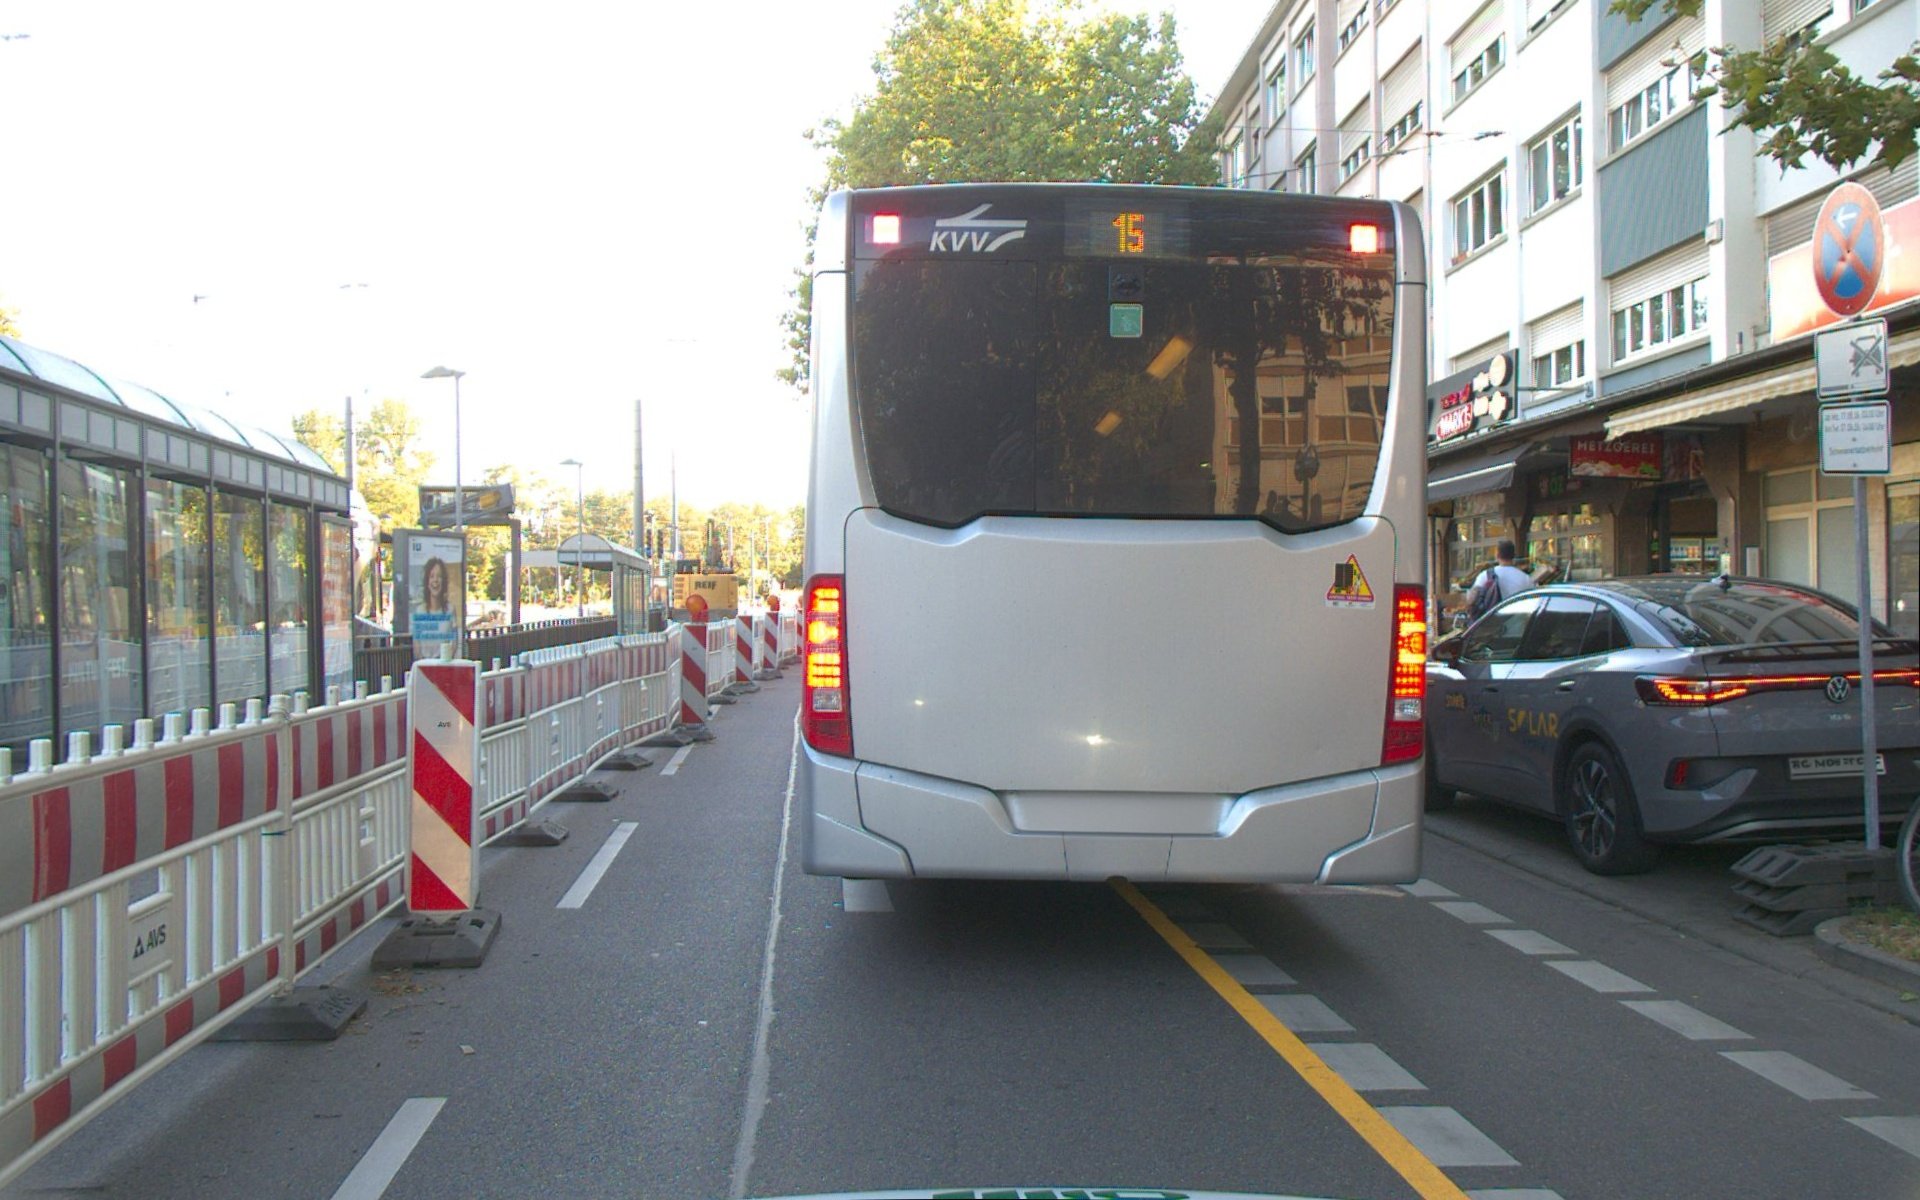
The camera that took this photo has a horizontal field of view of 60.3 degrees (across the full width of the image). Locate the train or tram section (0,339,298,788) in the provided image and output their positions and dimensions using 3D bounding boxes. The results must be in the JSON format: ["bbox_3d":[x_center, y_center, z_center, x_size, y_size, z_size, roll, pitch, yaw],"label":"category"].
[{"bbox_3d":[-9.402,-0.275,16.344,2.782,3.548,10.321,0,0,-7],"label":"train or tram section"}]

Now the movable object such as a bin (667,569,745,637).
[{"bbox_3d":[-9.702,0.099,63.529,2.752,2.505,3.995,0,0,-6],"label":"movable object such as a bin"}]

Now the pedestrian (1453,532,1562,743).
[{"bbox_3d":[5.505,0.369,16.667,0.754,2.049,0.713,-2,0,-5],"label":"pedestrian"}]

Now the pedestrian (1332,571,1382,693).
[{"bbox_3d":[6.771,0.545,28.233,0.676,2.049,0.696,-1,0,0],"label":"pedestrian"}]

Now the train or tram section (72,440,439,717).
[{"bbox_3d":[-10.710,-0.274,26.521,2.763,3.548,10.320,0,0,-8],"label":"train or tram section"}]

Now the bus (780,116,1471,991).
[{"bbox_3d":[0.578,-0.186,11.267,2.555,3.225,10.290,0,0,-1],"label":"bus"}]

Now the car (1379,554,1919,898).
[{"bbox_3d":[4.218,0.607,10.326,1.706,1.625,4.294,-3,0,-5],"label":"car"}]

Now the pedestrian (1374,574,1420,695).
[{"bbox_3d":[7.462,0.583,28.267,0.600,2.049,0.696,-1,0,1],"label":"pedestrian"}]
